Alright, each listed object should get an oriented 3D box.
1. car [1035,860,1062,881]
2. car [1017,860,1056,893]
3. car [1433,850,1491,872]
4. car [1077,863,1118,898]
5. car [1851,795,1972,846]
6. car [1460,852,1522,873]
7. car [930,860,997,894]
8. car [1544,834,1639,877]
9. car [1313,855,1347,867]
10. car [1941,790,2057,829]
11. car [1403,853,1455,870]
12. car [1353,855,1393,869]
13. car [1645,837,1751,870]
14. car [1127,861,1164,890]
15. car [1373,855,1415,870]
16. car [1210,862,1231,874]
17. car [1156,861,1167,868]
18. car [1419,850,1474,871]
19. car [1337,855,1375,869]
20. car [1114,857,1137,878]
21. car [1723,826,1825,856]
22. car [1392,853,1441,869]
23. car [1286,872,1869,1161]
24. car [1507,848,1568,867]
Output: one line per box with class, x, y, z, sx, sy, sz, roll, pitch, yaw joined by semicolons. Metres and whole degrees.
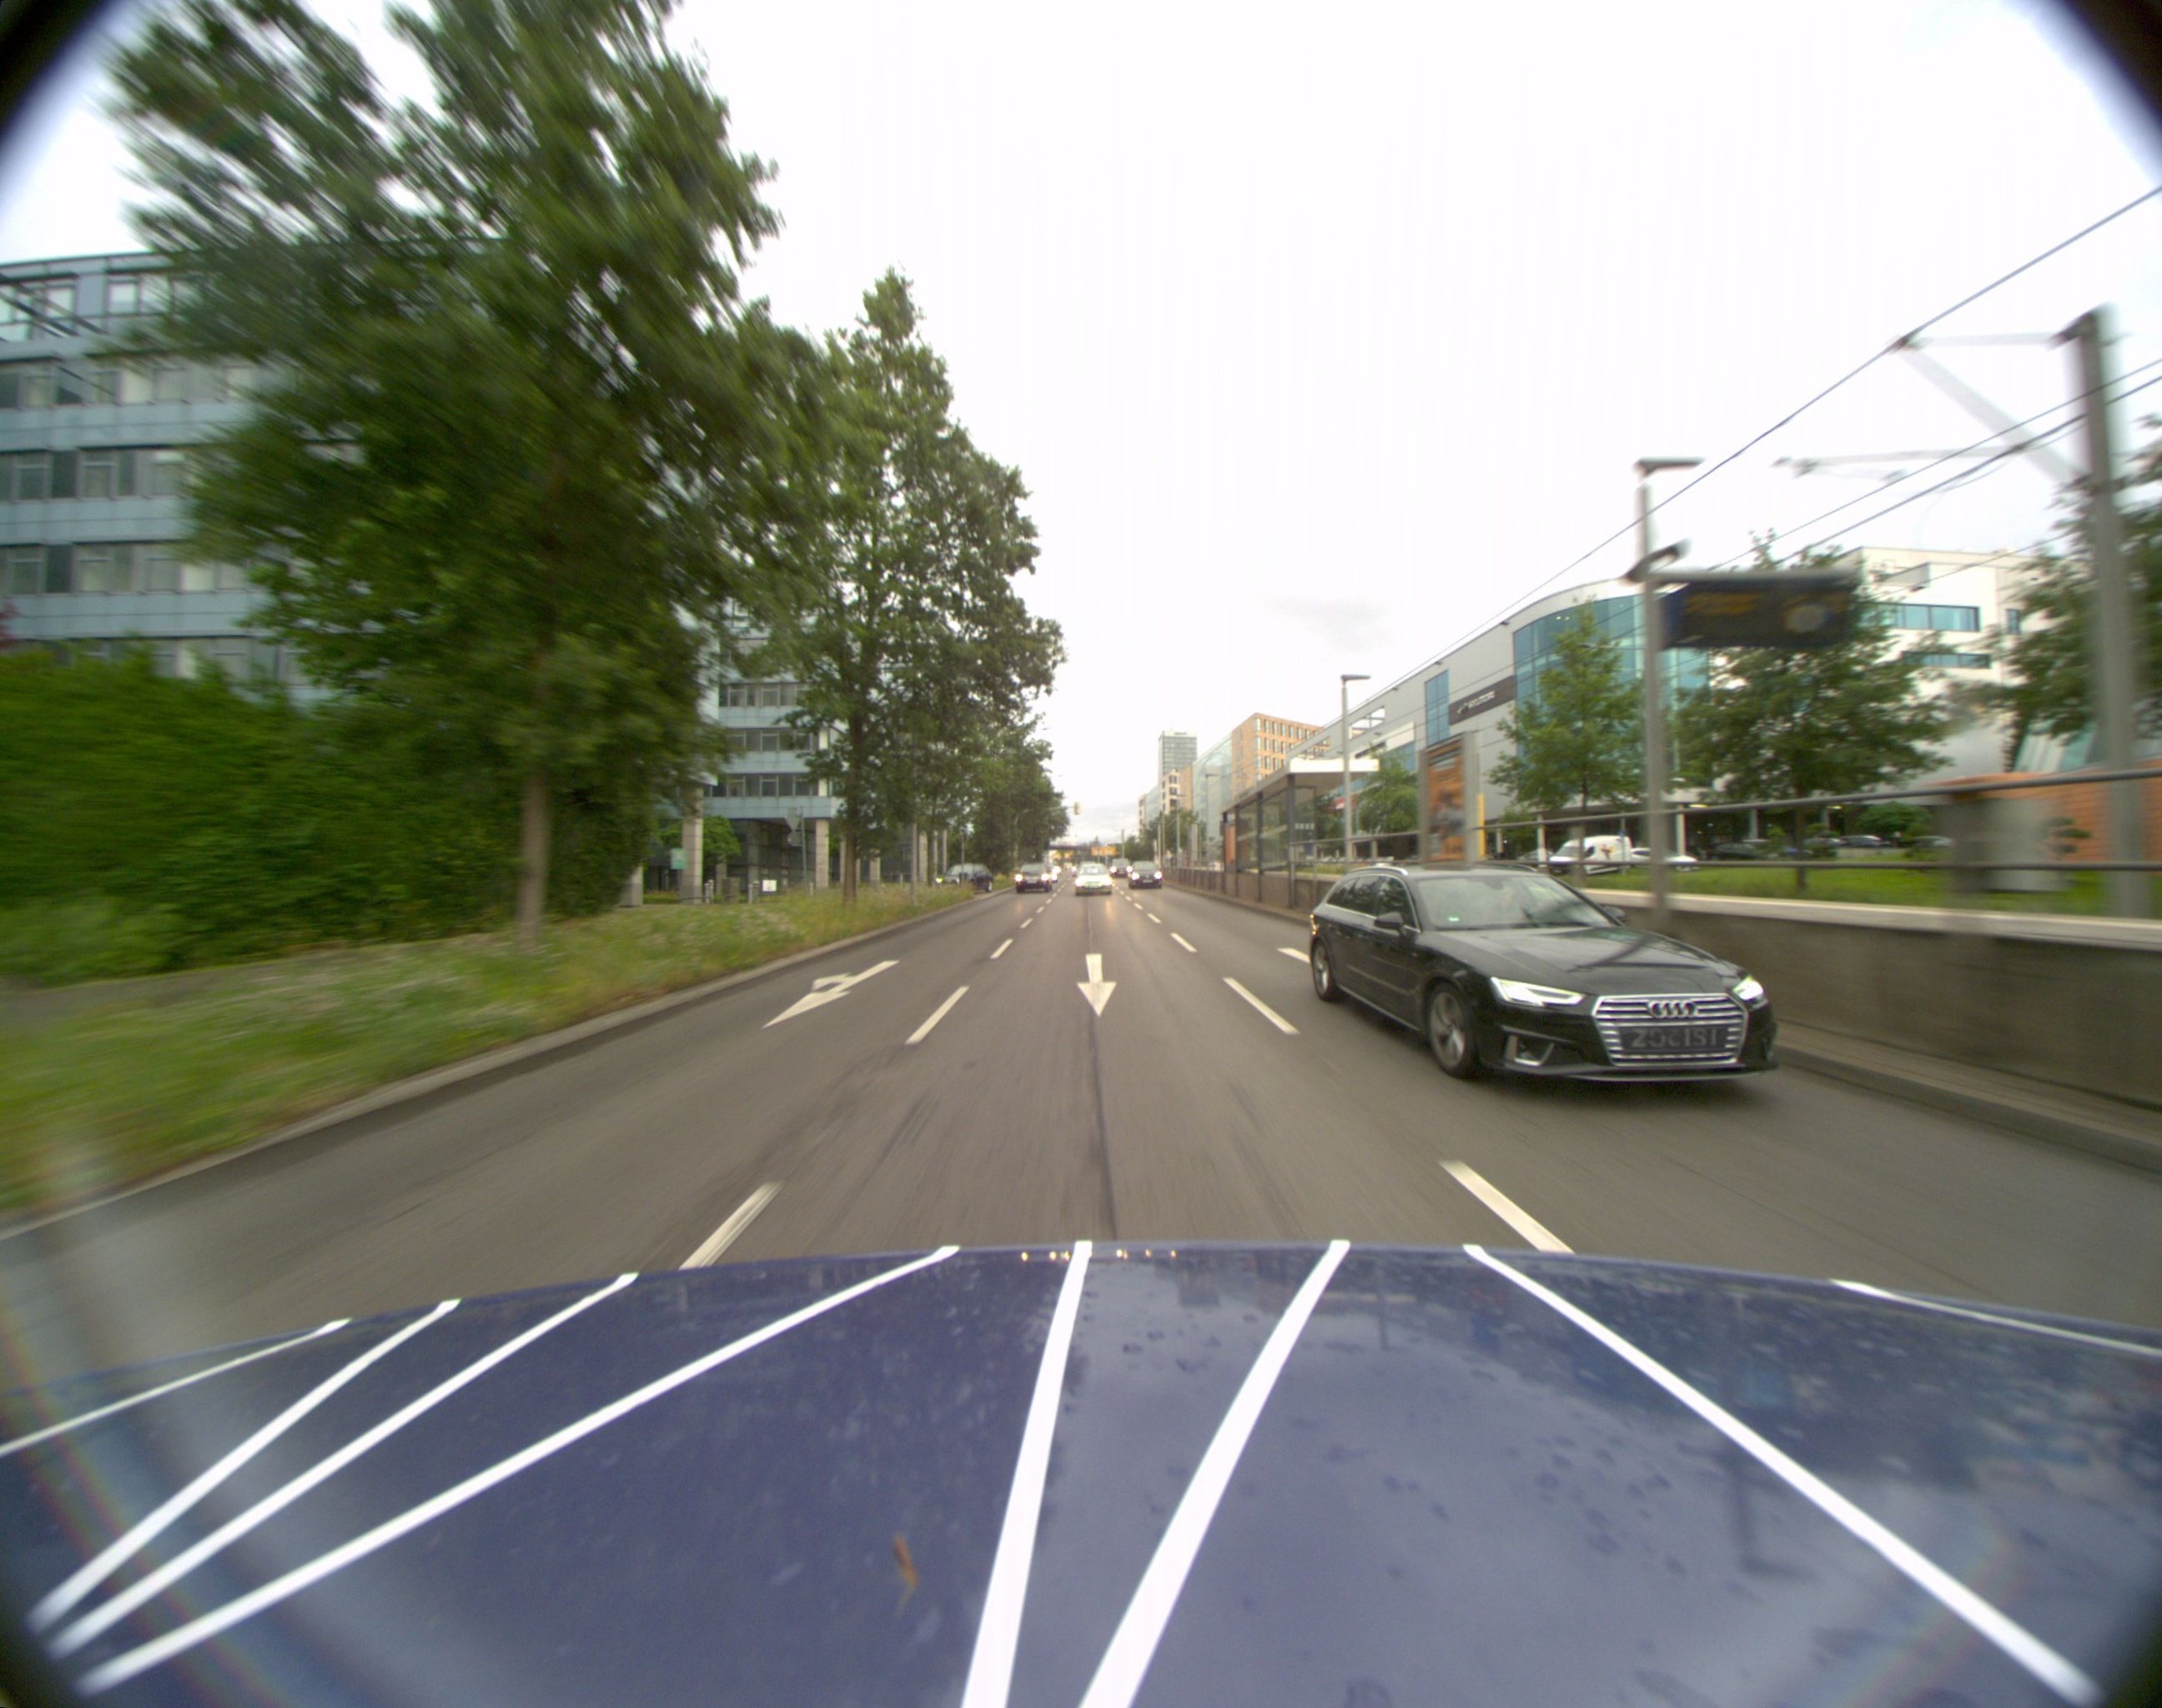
car;-2.486;1.264;59.090;1.873;1.533;4.107;-2;-1;0
car;-2.398;1.218;42.022;1.816;1.660;4.549;-2;-1;0
car;33.100;0.613;66.043;3.999;1.652;1.921;-3;0;-6
car;0.752;1.211;36.392;1.803;1.533;4.375;-2;-1;0
car;58.131;-2.320;53.278;5.483;3.253;2.999;-2;0;-6
car;32.791;0.692;60.831;3.999;1.499;1.896;-2;0;-8
car;-6.172;1.171;40.472;1.814;1.660;4.376;-2;-1;17
car;34.297;0.068;51.112;5.488;2.613;2.276;-2;0;-17
car;32.449;0.925;99.157;3.845;1.482;1.821;-1;0;-18
car;66.639;-3.213;55.228;5.483;2.480;2.746;-2;0;-6
car;32.805;0.718;71.673;3.999;1.482;1.823;-2;0;-6
car;32.873;0.880;85.534;3.845;1.482;1.821;-1;0;-18
car;41.239;-0.017;50.841;5.483;1.915;2.278;-2;0;-6
car;3.587;1.166;42.777;1.798;1.492;4.001;-2;-1;1
car;33.158;0.878;80.479;3.845;1.482;1.821;-1;0;-18
car;19.036;1.880;104.027;1.998;1.381;4.873;-2;0;0
car;17.970;2.251;169.782;1.998;1.427;4.873;-2;0;0
car;33.048;0.610;68.726;3.999;1.652;1.921;-4;0;-6
car;32.896;0.958;90.877;3.845;1.482;1.821;-1;0;-18
car;3.843;1.167;66.600;1.781;1.670;4.131;-2;-1;0
car;49.346;-0.913;54.187;5.483;1.915;2.278;-2;0;-6
car;33.046;0.714;74.933;3.999;1.482;1.823;-2;0;-6
car;3.295;0.926;6.457;1.794;1.425;4.829;-2;-1;0
car;38.325;0.302;63.846;1.775;1.460;3.990;-1;-1;-39
